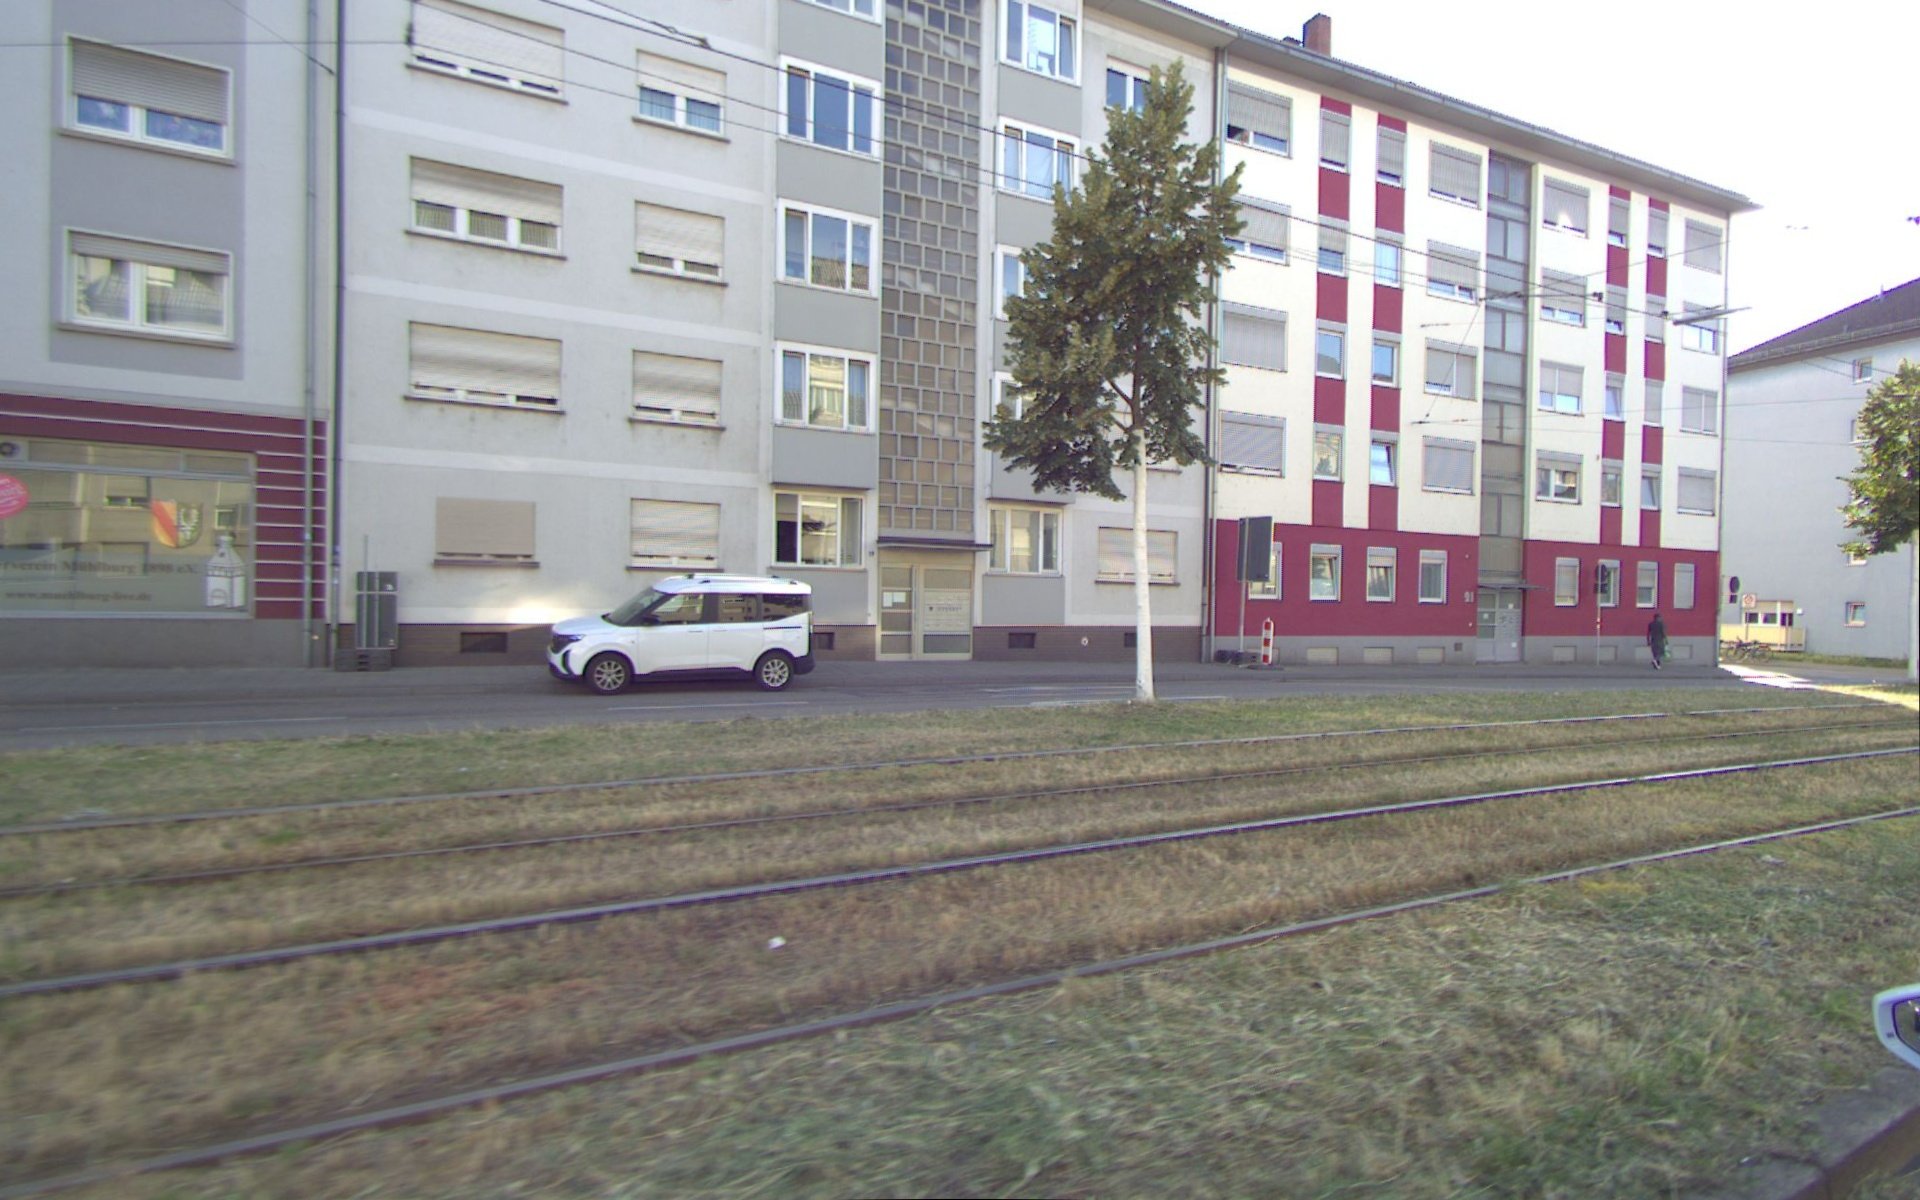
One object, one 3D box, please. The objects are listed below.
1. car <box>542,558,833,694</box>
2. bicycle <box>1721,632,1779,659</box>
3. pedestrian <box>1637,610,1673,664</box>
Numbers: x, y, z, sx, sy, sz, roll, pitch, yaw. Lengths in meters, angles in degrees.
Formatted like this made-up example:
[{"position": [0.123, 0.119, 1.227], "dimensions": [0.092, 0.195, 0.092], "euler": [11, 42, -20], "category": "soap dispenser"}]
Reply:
[{"position": [-4.556, 0.406, 16.848], "dimensions": [4.366, 1.854, 1.859], "euler": [1, 8, -28], "category": "car"}, {"position": [35.485, 2.029, 45.130], "dimensions": [0.598, 1.090, 1.941], "euler": [2, 0, -36], "category": "bicycle"}, {"position": [22.422, 1.198, 32.410], "dimensions": [0.781, 1.712, 0.611], "euler": [1, 1, -25], "category": "pedestrian"}]
